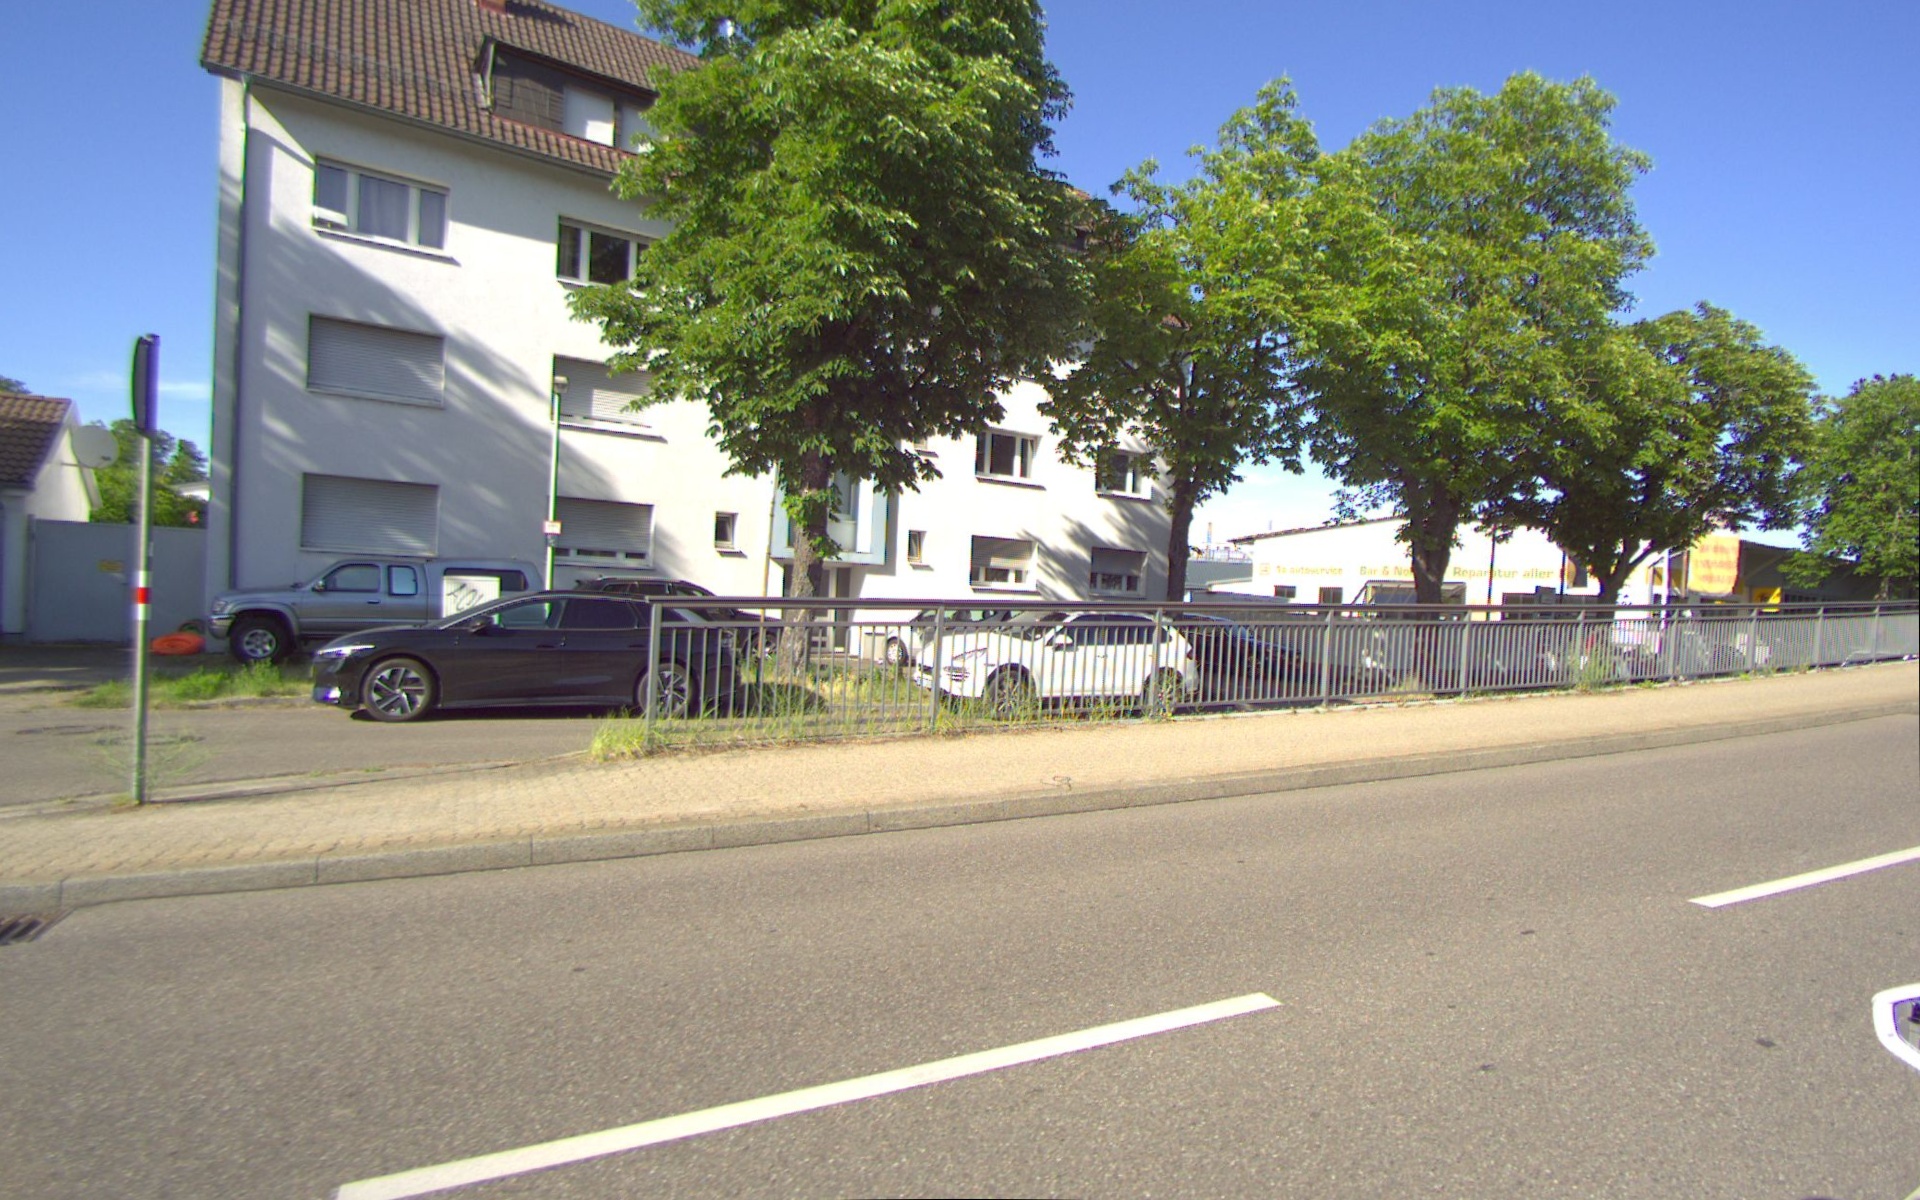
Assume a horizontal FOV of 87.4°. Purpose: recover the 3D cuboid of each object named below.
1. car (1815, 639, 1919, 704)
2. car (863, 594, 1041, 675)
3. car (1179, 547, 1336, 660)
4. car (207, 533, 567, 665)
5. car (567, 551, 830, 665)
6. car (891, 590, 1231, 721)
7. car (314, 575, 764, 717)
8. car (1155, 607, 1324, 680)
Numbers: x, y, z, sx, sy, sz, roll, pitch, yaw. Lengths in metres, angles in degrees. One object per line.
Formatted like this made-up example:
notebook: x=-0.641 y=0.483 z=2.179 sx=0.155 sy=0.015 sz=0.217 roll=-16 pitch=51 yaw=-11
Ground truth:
car: x=32.114 y=2.457 z=35.076 sx=4.203 sy=2.018 sz=1.916 roll=2 pitch=1 yaw=-27
car: x=-0.198 y=0.724 z=22.638 sx=3.608 sy=1.530 sz=1.779 roll=3 pitch=1 yaw=34
car: x=11.120 y=0.071 z=37.278 sx=5.842 sy=2.585 sz=2.121 roll=-15 pitch=-3 yaw=-38
car: x=-9.541 y=0.036 z=17.143 sx=5.043 sy=1.956 sz=1.738 roll=3 pitch=1 yaw=-30
car: x=-5.155 y=0.174 z=19.801 sx=4.720 sy=1.956 sz=2.064 roll=3 pitch=1 yaw=-24
car: x=1.688 y=0.865 z=16.116 sx=5.175 sy=1.752 sz=2.028 roll=3 pitch=1 yaw=-30
car: x=-5.199 y=0.563 z=12.766 sx=4.903 sy=1.483 sz=2.028 roll=3 pitch=1 yaw=-30
car: x=7.324 y=1.098 z=26.601 sx=1.880 sy=1.605 sz=3.971 roll=2 pitch=1 yaw=-36
